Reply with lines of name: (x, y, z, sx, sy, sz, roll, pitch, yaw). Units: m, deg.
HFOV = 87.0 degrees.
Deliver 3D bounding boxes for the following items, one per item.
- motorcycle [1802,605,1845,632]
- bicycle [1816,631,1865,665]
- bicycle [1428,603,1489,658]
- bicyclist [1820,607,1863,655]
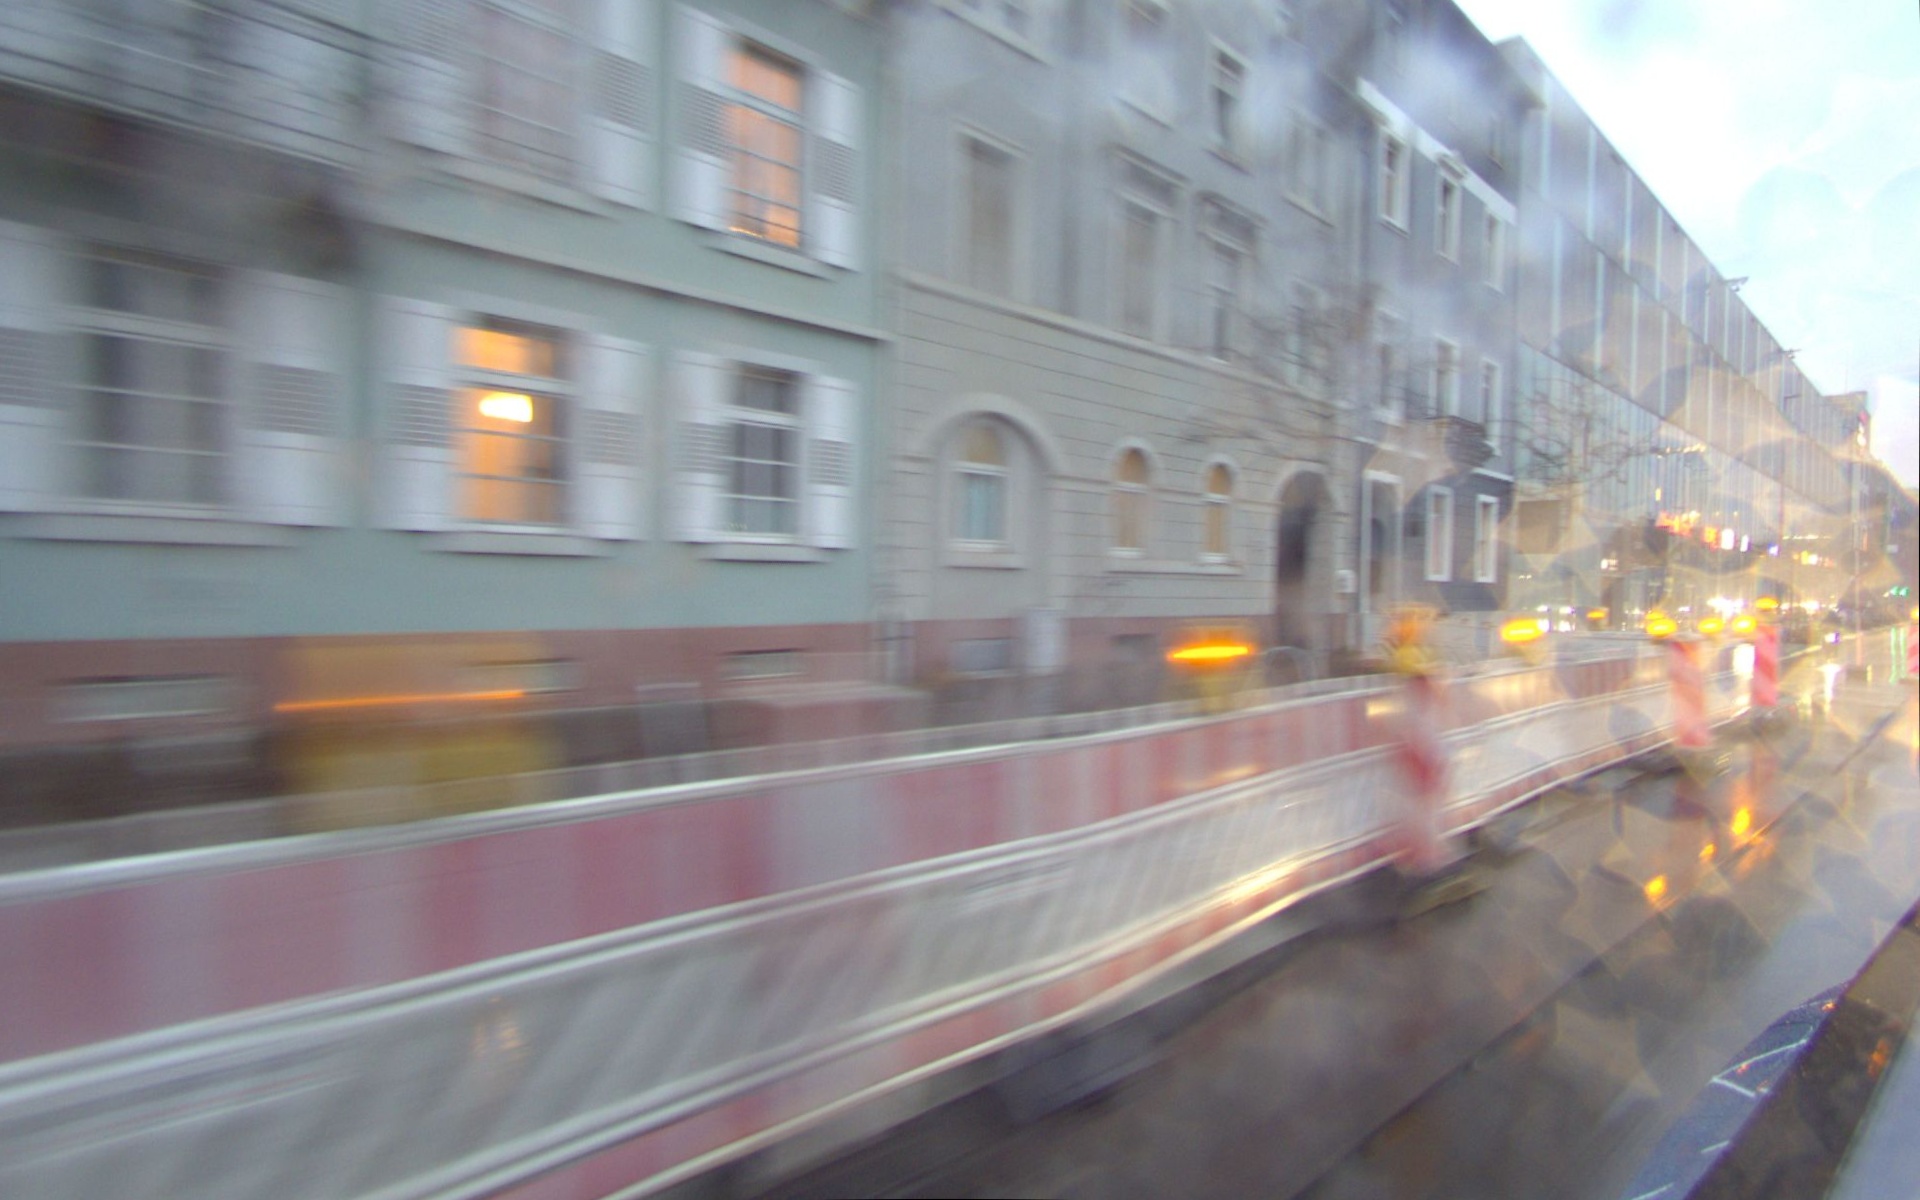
motorcycle: (47.056, 0.999, 55.159, 0.584, 1.350, 1.912, 1, 2, -4)
bicycle: (28.835, 1.563, 33.128, 2.202, 1.012, 0.944, 1, 1, -43)
bicycle: (12.155, 0.713, 24.636, 0.683, 1.236, 1.874, 7, 5, 45)
bicyclist: (28.860, 1.000, 33.132, 1.048, 1.481, 0.944, 1, 1, -42)
